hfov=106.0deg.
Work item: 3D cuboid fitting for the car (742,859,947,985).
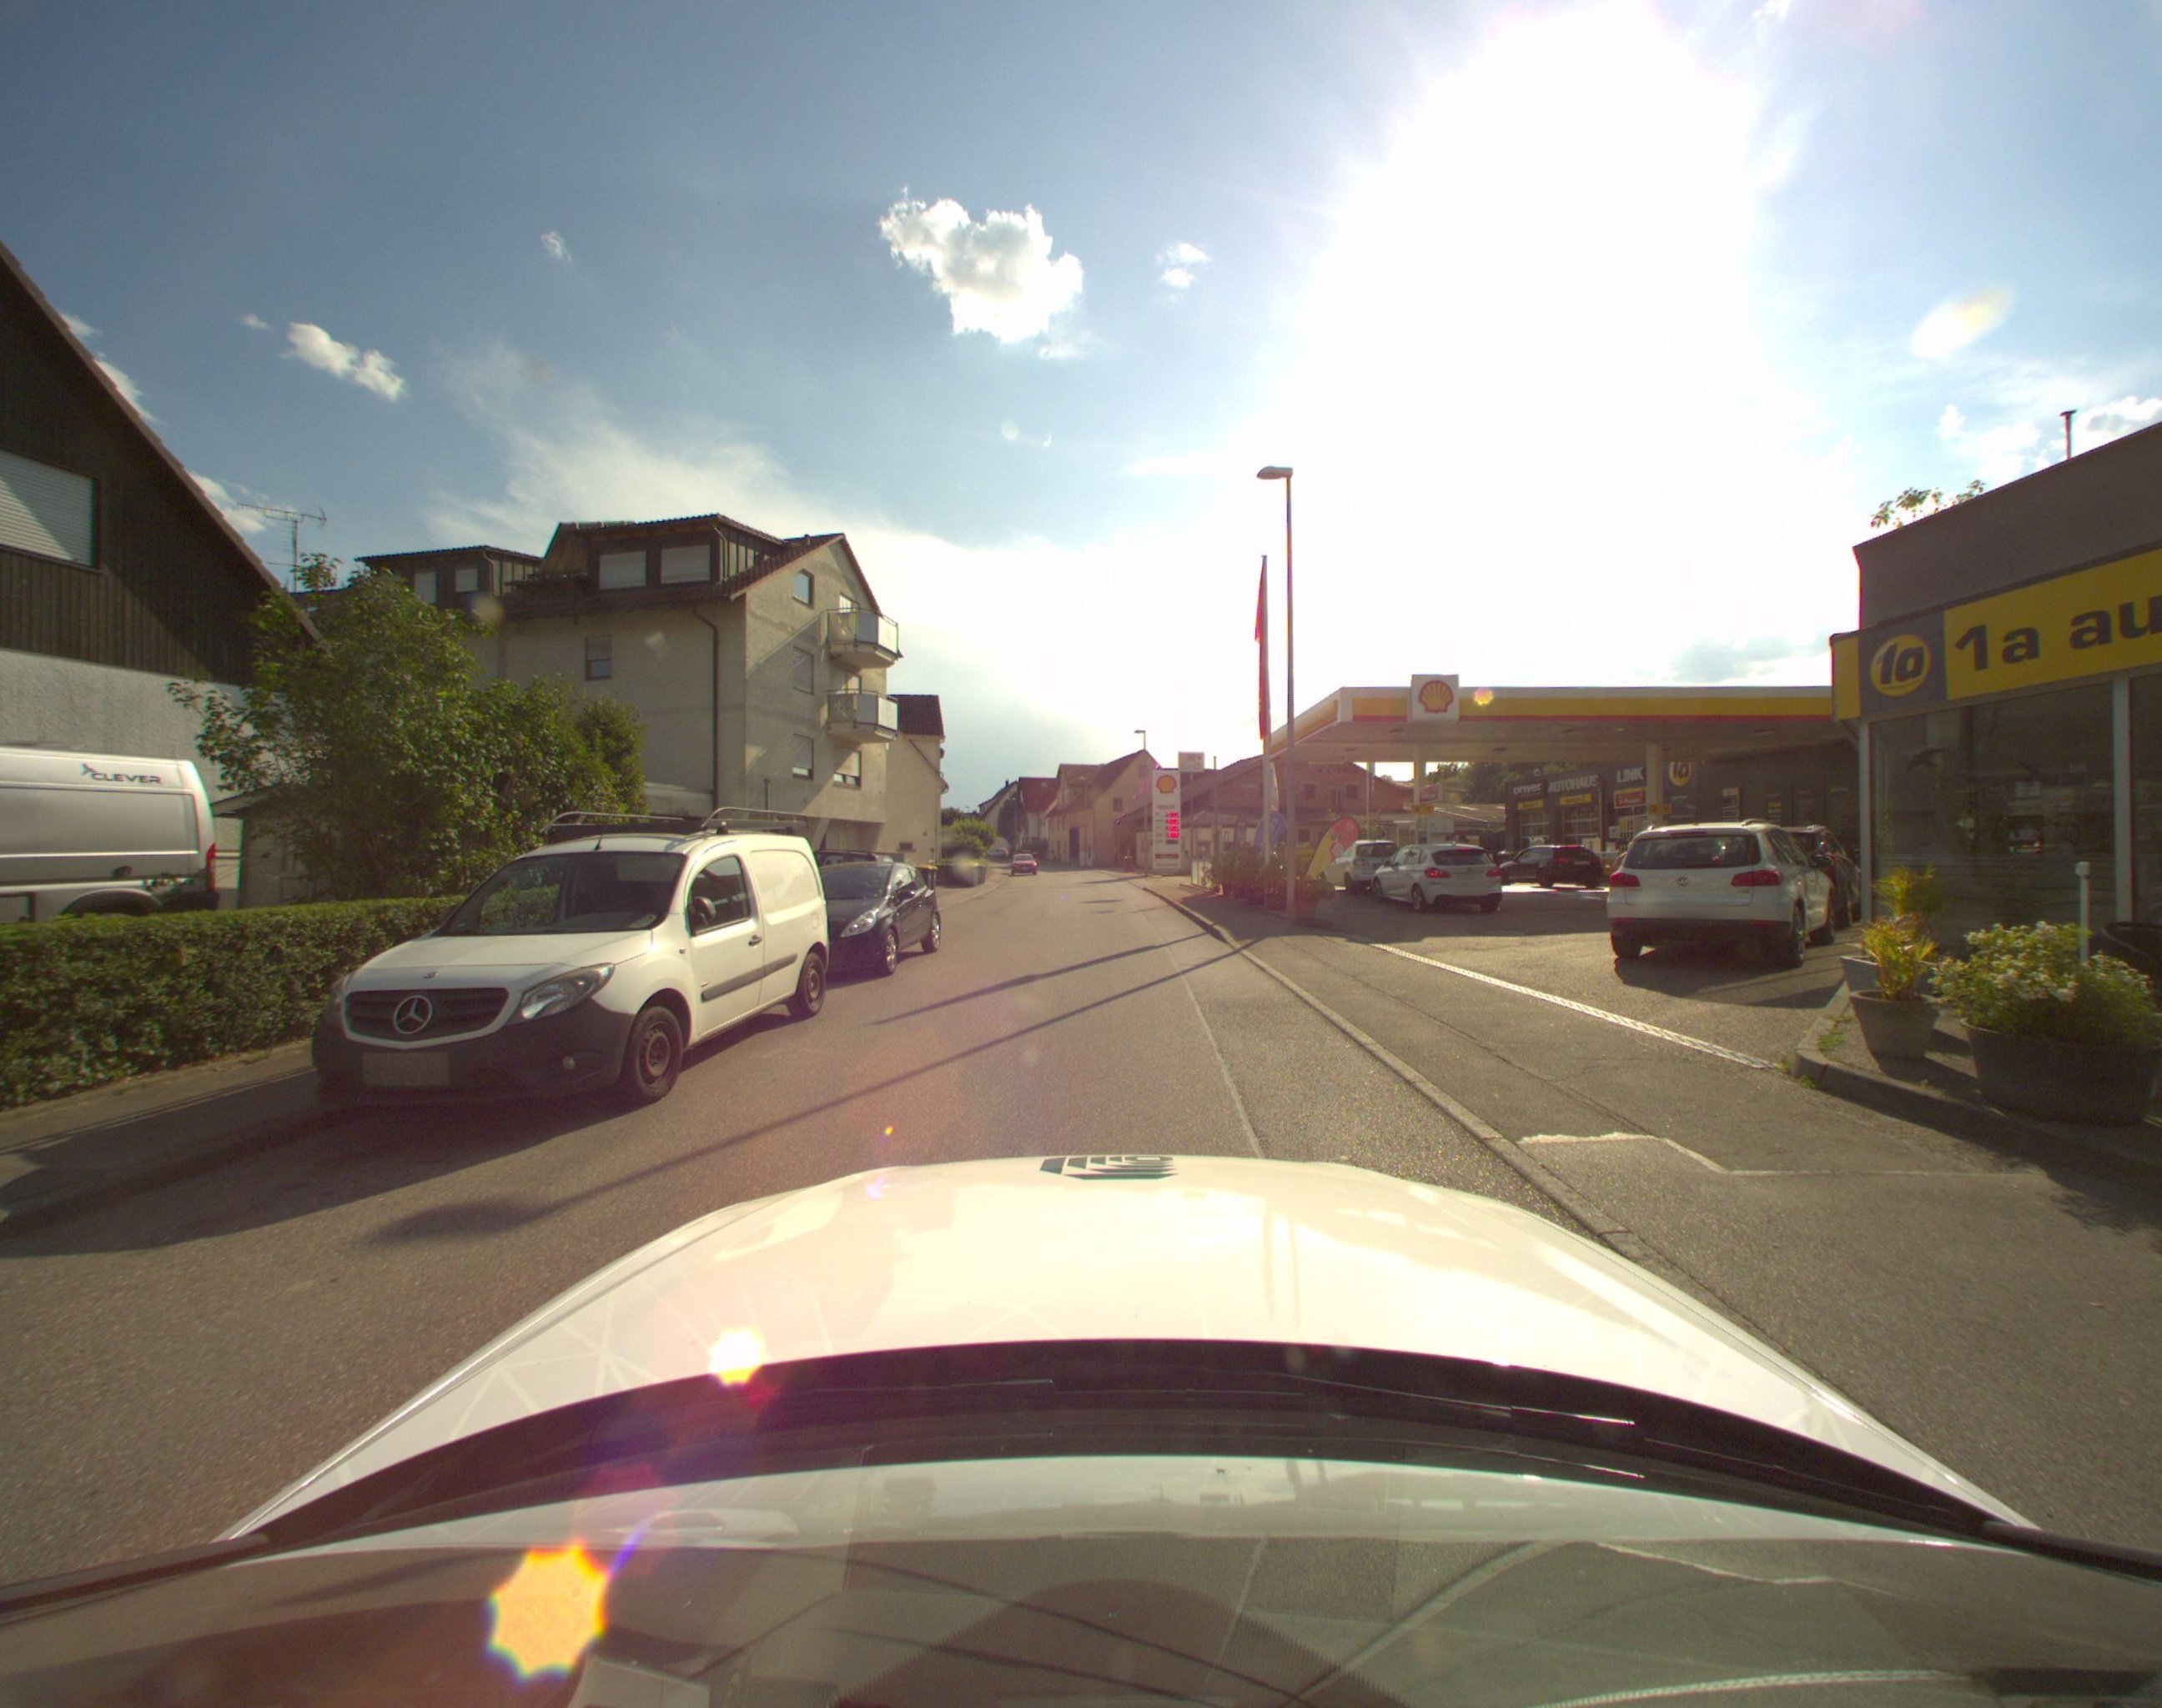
[{"bbox_3d":[-3.161,0.833,11.708,1.666,1.451,3.836,-1,0,2],"label":"car"}]

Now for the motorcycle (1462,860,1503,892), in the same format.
[{"bbox_3d":[11.845,0.634,24.087,0.391,0.874,1.813,-1,0,3],"label":"motorcycle"}]

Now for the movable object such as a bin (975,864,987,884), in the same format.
[{"bbox_3d":[-5.126,1.027,41.784,0.530,1.022,0.457,-2,0,0],"label":"movable object such as a bin"}]

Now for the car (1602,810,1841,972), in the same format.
[{"bbox_3d":[8.292,0.341,10.407,4.100,1.674,1.657,-2,0,-42],"label":"car"}]

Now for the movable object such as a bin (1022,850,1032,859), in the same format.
[{"bbox_3d":[-6.961,0.063,105.255,1.161,1.168,0.652,-1,0,-12],"label":"movable object such as a bin"}]

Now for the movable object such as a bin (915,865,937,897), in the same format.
[{"bbox_3d":[-5.344,0.925,28.056,0.597,1.071,0.619,2,0,0],"label":"movable object such as a bin"}]

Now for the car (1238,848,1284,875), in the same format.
[{"bbox_3d":[9.956,0.376,45.316,1.573,1.427,4.379,0,0,-1],"label":"car"}]

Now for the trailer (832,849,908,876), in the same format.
[{"bbox_3d":[-7.665,0.331,29.782,1.319,0.855,2.904,1,-2,18],"label":"trailer"}]

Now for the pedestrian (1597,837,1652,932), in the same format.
[{"bbox_3d":[8.715,0.472,13.060,0.433,1.479,0.618,-1,0,-42],"label":"pedestrian"}]

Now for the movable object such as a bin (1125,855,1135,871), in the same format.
[{"bbox_3d":[3.405,0.621,56.447,0.651,1.073,0.512,-1,0,-3],"label":"movable object such as a bin"}]

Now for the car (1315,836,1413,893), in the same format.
[{"bbox_3d":[8.627,0.273,25.181,1.666,1.577,3.999,-1,0,1],"label":"car"}]

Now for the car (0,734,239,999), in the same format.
[{"bbox_3d":[-11.784,0.121,7.105,2.147,2.596,6.104,0,0,6],"label":"car"}]

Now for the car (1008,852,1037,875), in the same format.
[{"bbox_3d":[-4.094,0.645,56.524,1.708,1.435,3.769,-2,0,-8],"label":"car"}]

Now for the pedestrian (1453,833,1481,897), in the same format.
[{"bbox_3d":[10.274,0.297,21.685,0.499,1.670,0.534,-1,-1,1],"label":"pedestrian"}]

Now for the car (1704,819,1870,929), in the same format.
[{"bbox_3d":[12.203,0.292,14.006,3.707,1.633,1.657,-1,-1,-42],"label":"car"}]

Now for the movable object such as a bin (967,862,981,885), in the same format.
[{"bbox_3d":[-5.332,0.966,40.723,0.586,1.122,0.617,-2,0,0],"label":"movable object such as a bin"}]

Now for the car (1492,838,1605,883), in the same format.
[{"bbox_3d":[15.726,0.253,27.631,1.532,1.400,3.998,-1,-1,1],"label":"car"}]

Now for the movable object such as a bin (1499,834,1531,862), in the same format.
[{"bbox_3d":[22.220,-0.297,41.724,0.986,1.375,1.126,-1,0,-5],"label":"movable object such as a bin"}]

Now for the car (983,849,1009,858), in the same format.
[{"bbox_3d":[-13.148,-0.106,125.658,3.985,1.352,1.706,-1,0,-9],"label":"car"}]

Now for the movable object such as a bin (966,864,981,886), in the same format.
[{"bbox_3d":[-5.290,1.034,40.077,0.586,1.084,0.530,-2,0,0],"label":"movable object such as a bin"}]

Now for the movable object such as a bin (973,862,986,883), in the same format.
[{"bbox_3d":[-5.137,0.942,41.295,0.530,1.022,0.457,-2,0,0],"label":"movable object such as a bin"}]

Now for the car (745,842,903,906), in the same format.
[{"bbox_3d":[-7.519,0.551,23.960,3.961,1.538,1.769,4,1,12],"label":"car"}]

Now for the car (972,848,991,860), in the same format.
[{"bbox_3d":[-14.208,0.007,116.262,1.712,1.578,3.969,-1,0,-23],"label":"car"}]

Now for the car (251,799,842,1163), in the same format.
[{"bbox_3d":[-3.443,0.669,6.397,1.710,1.872,4.194,-2,0,2],"label":"car"}]

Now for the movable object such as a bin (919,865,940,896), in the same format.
[{"bbox_3d":[-5.344,0.927,28.719,0.568,1.071,0.557,2,0,0],"label":"movable object such as a bin"}]

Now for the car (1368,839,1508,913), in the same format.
[{"bbox_3d":[8.488,0.464,19.729,1.666,1.577,3.999,-1,0,1],"label":"car"}]

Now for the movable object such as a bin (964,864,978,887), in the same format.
[{"bbox_3d":[-5.316,1.041,39.430,0.586,1.084,0.508,-2,0,0],"label":"movable object such as a bin"}]
